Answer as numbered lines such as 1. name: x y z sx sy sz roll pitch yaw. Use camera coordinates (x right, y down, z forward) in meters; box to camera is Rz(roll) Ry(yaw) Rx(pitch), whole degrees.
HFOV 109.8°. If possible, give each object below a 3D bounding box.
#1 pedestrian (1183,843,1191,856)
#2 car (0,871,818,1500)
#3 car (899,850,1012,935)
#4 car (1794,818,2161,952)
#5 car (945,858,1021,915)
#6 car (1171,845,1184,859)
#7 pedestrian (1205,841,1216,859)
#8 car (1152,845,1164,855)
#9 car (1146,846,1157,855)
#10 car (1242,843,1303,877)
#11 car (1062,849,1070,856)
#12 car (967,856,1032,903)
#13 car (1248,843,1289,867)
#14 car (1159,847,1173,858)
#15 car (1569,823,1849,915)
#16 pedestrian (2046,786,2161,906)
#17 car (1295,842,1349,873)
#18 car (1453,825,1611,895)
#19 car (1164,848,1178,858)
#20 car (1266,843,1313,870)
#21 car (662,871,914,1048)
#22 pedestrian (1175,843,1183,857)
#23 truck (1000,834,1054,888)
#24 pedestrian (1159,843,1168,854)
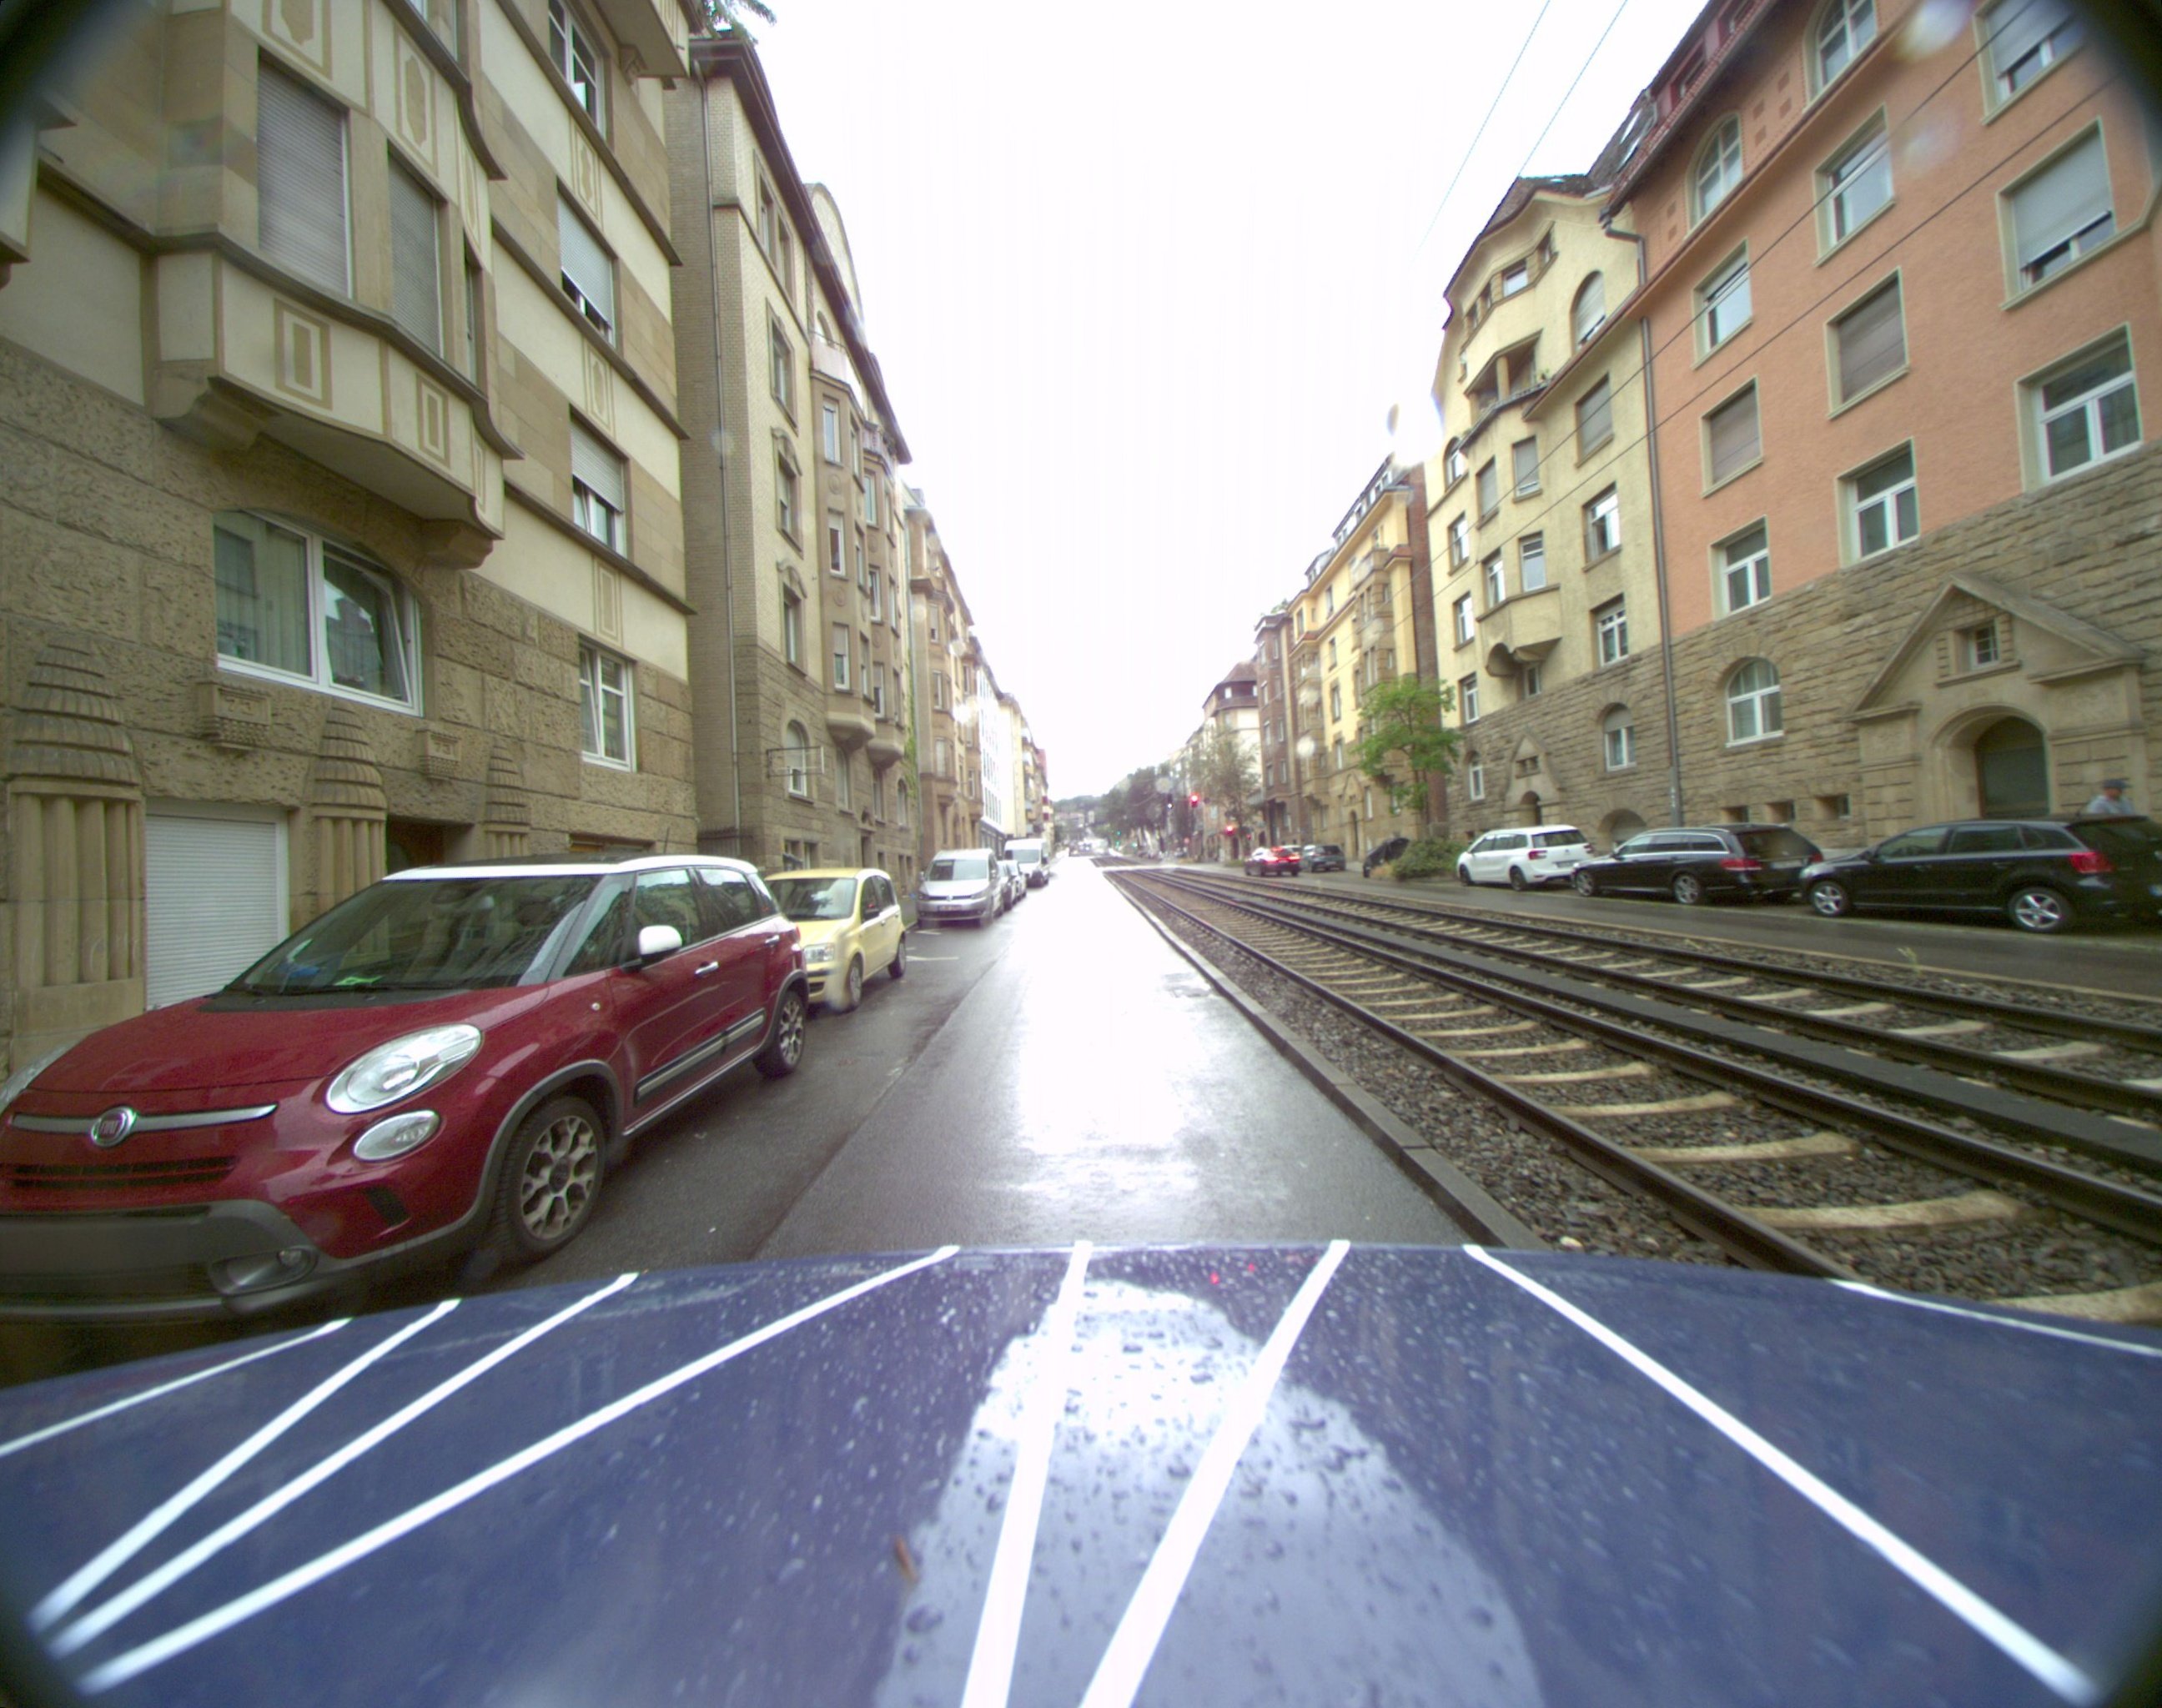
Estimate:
1. pedestrian: 15.981 -0.641 114.574 1.056 1.946 1.163 -3 1 2
2. car: -3.028 0.983 4.083 1.807 1.590 3.999 -3 0 -1
3. car: -3.007 0.853 19.190 1.968 1.792 4.459 -3 0 1
4. car: 12.532 0.319 10.459 1.935 1.488 3.641 -2 1 -2
5. car: -2.962 0.943 23.807 1.999 1.521 3.999 -3 0 -3
6. car: 12.665 -0.236 99.538 1.583 1.669 3.790 -3 2 7
7. pedestrian: 14.930 -0.472 87.804 1.056 1.946 1.163 -3 1 2
8. car: 12.828 -0.637 126.828 1.657 1.589 3.775 -3 0 1
9. car: 12.424 -0.636 133.697 1.632 1.537 3.801 -3 0 1
10. car: 9.614 0.276 38.517 1.807 1.514 4.964 -3 0 1
11. car: -3.824 -0.367 194.709 1.998 1.838 4.000 -3 0 1
12. car: -2.951 0.886 28.307 1.891 1.521 3.929 -3 0 1
13. car: 12.481 0.070 50.741 1.771 1.433 3.845 -3 0 1
14. car: 12.861 -0.279 115.358 1.771 1.507 3.845 -3 0 1
15. car: 12.294 0.251 15.377 1.847 1.486 4.601 -3 0 1
16. pedestrian: 14.907 -0.119 11.043 0.701 1.633 0.765 -5 1 1
17. car: 12.504 0.133 39.607 1.678 1.433 3.845 -4 1 3
18. car: 12.275 0.139 21.039 1.867 1.646 4.146 -3 0 1
19. car: 12.566 -0.091 106.376 1.583 1.303 3.845 -3 0 1
20. car: 12.471 0.122 45.646 1.771 1.433 4.031 -3 0 2
21. car: -3.185 1.045 9.032 1.580 1.520 3.578 -3 0 -1
22. pedestrian: 14.797 -0.597 114.582 1.056 1.946 1.163 -3 1 2
23. truck: -2.723 0.346 39.937 2.235 2.521 6.143 -3 0 1
24. pedestrian: 15.469 -1.026 142.407 1.380 1.946 1.379 -3 1 2
